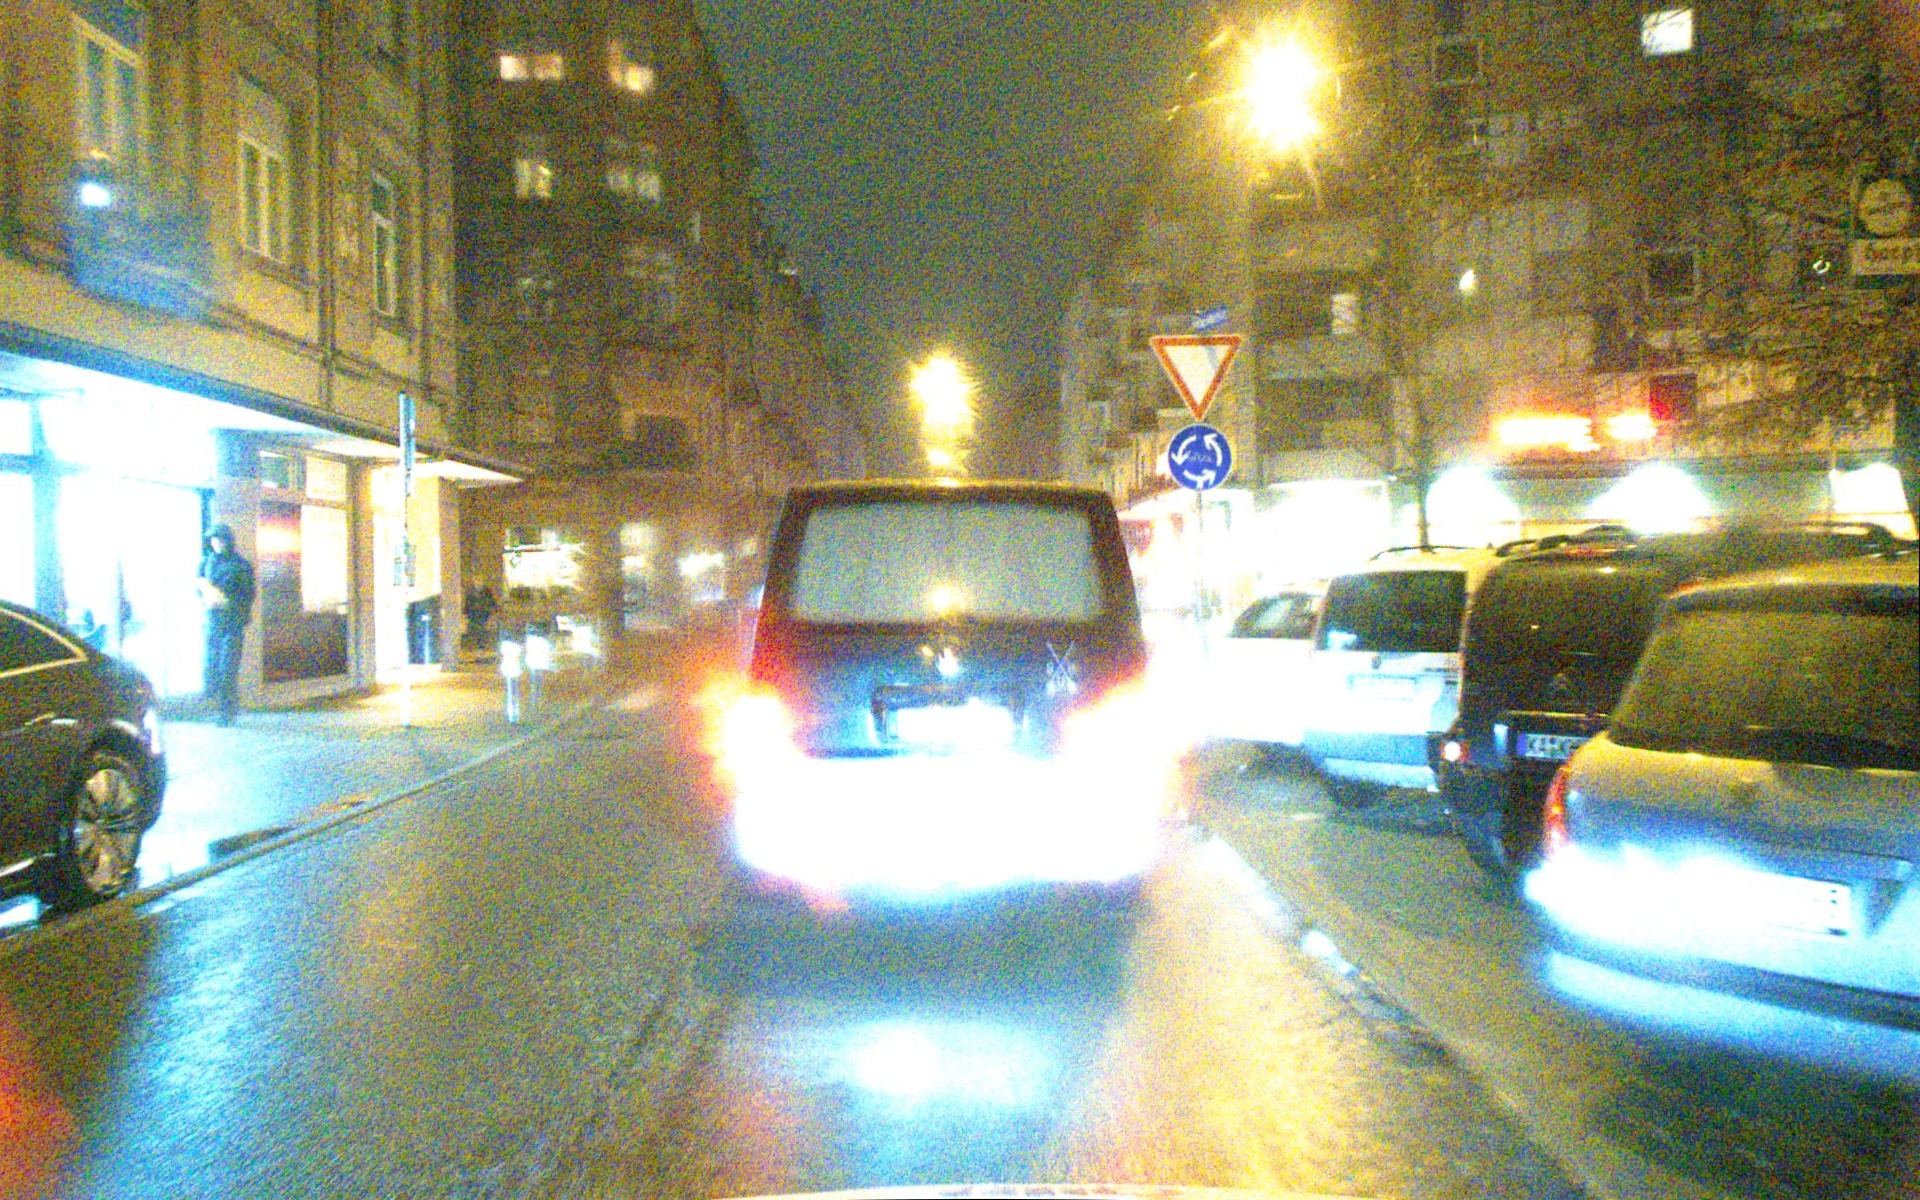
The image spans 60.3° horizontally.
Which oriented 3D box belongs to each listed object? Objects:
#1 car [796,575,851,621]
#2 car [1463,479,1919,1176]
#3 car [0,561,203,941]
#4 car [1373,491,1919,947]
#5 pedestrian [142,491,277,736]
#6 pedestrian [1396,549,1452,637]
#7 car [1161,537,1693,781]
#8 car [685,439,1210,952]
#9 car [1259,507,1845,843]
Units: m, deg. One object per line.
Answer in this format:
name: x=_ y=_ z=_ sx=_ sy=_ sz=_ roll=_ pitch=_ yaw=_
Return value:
car: x=-4.649 y=-0.097 z=56.724 sx=1.554 sy=1.489 sz=4.024 roll=2 pitch=1 yaw=-1
car: x=3.651 y=0.438 z=5.309 sx=4.028 sy=1.625 sz=1.811 roll=-4 pitch=1 yaw=-36
car: x=-4.699 y=0.613 z=5.793 sx=1.809 sy=1.504 sz=5.030 roll=-1 pitch=1 yaw=-1
car: x=3.986 y=0.387 z=8.194 sx=3.752 sy=1.742 sz=1.726 roll=-4 pitch=1 yaw=-36
pedestrian: x=-7.260 y=0.117 z=16.053 sx=0.783 sy=2.280 sz=1.116 roll=-1 pitch=0 yaw=-2
pedestrian: x=9.977 y=-0.145 z=35.529 sx=0.861 sy=1.865 sz=0.980 roll=-1 pitch=0 yaw=35
car: x=3.892 y=0.391 z=13.626 sx=4.204 sy=1.601 sz=1.754 roll=-3 pitch=1 yaw=-30
car: x=-0.069 y=0.357 z=8.903 sx=2.079 sy=2.026 sz=4.600 roll=-1 pitch=1 yaw=-1
car: x=3.889 y=0.355 z=10.681 sx=3.699 sy=1.742 sz=1.749 roll=-4 pitch=1 yaw=-36
